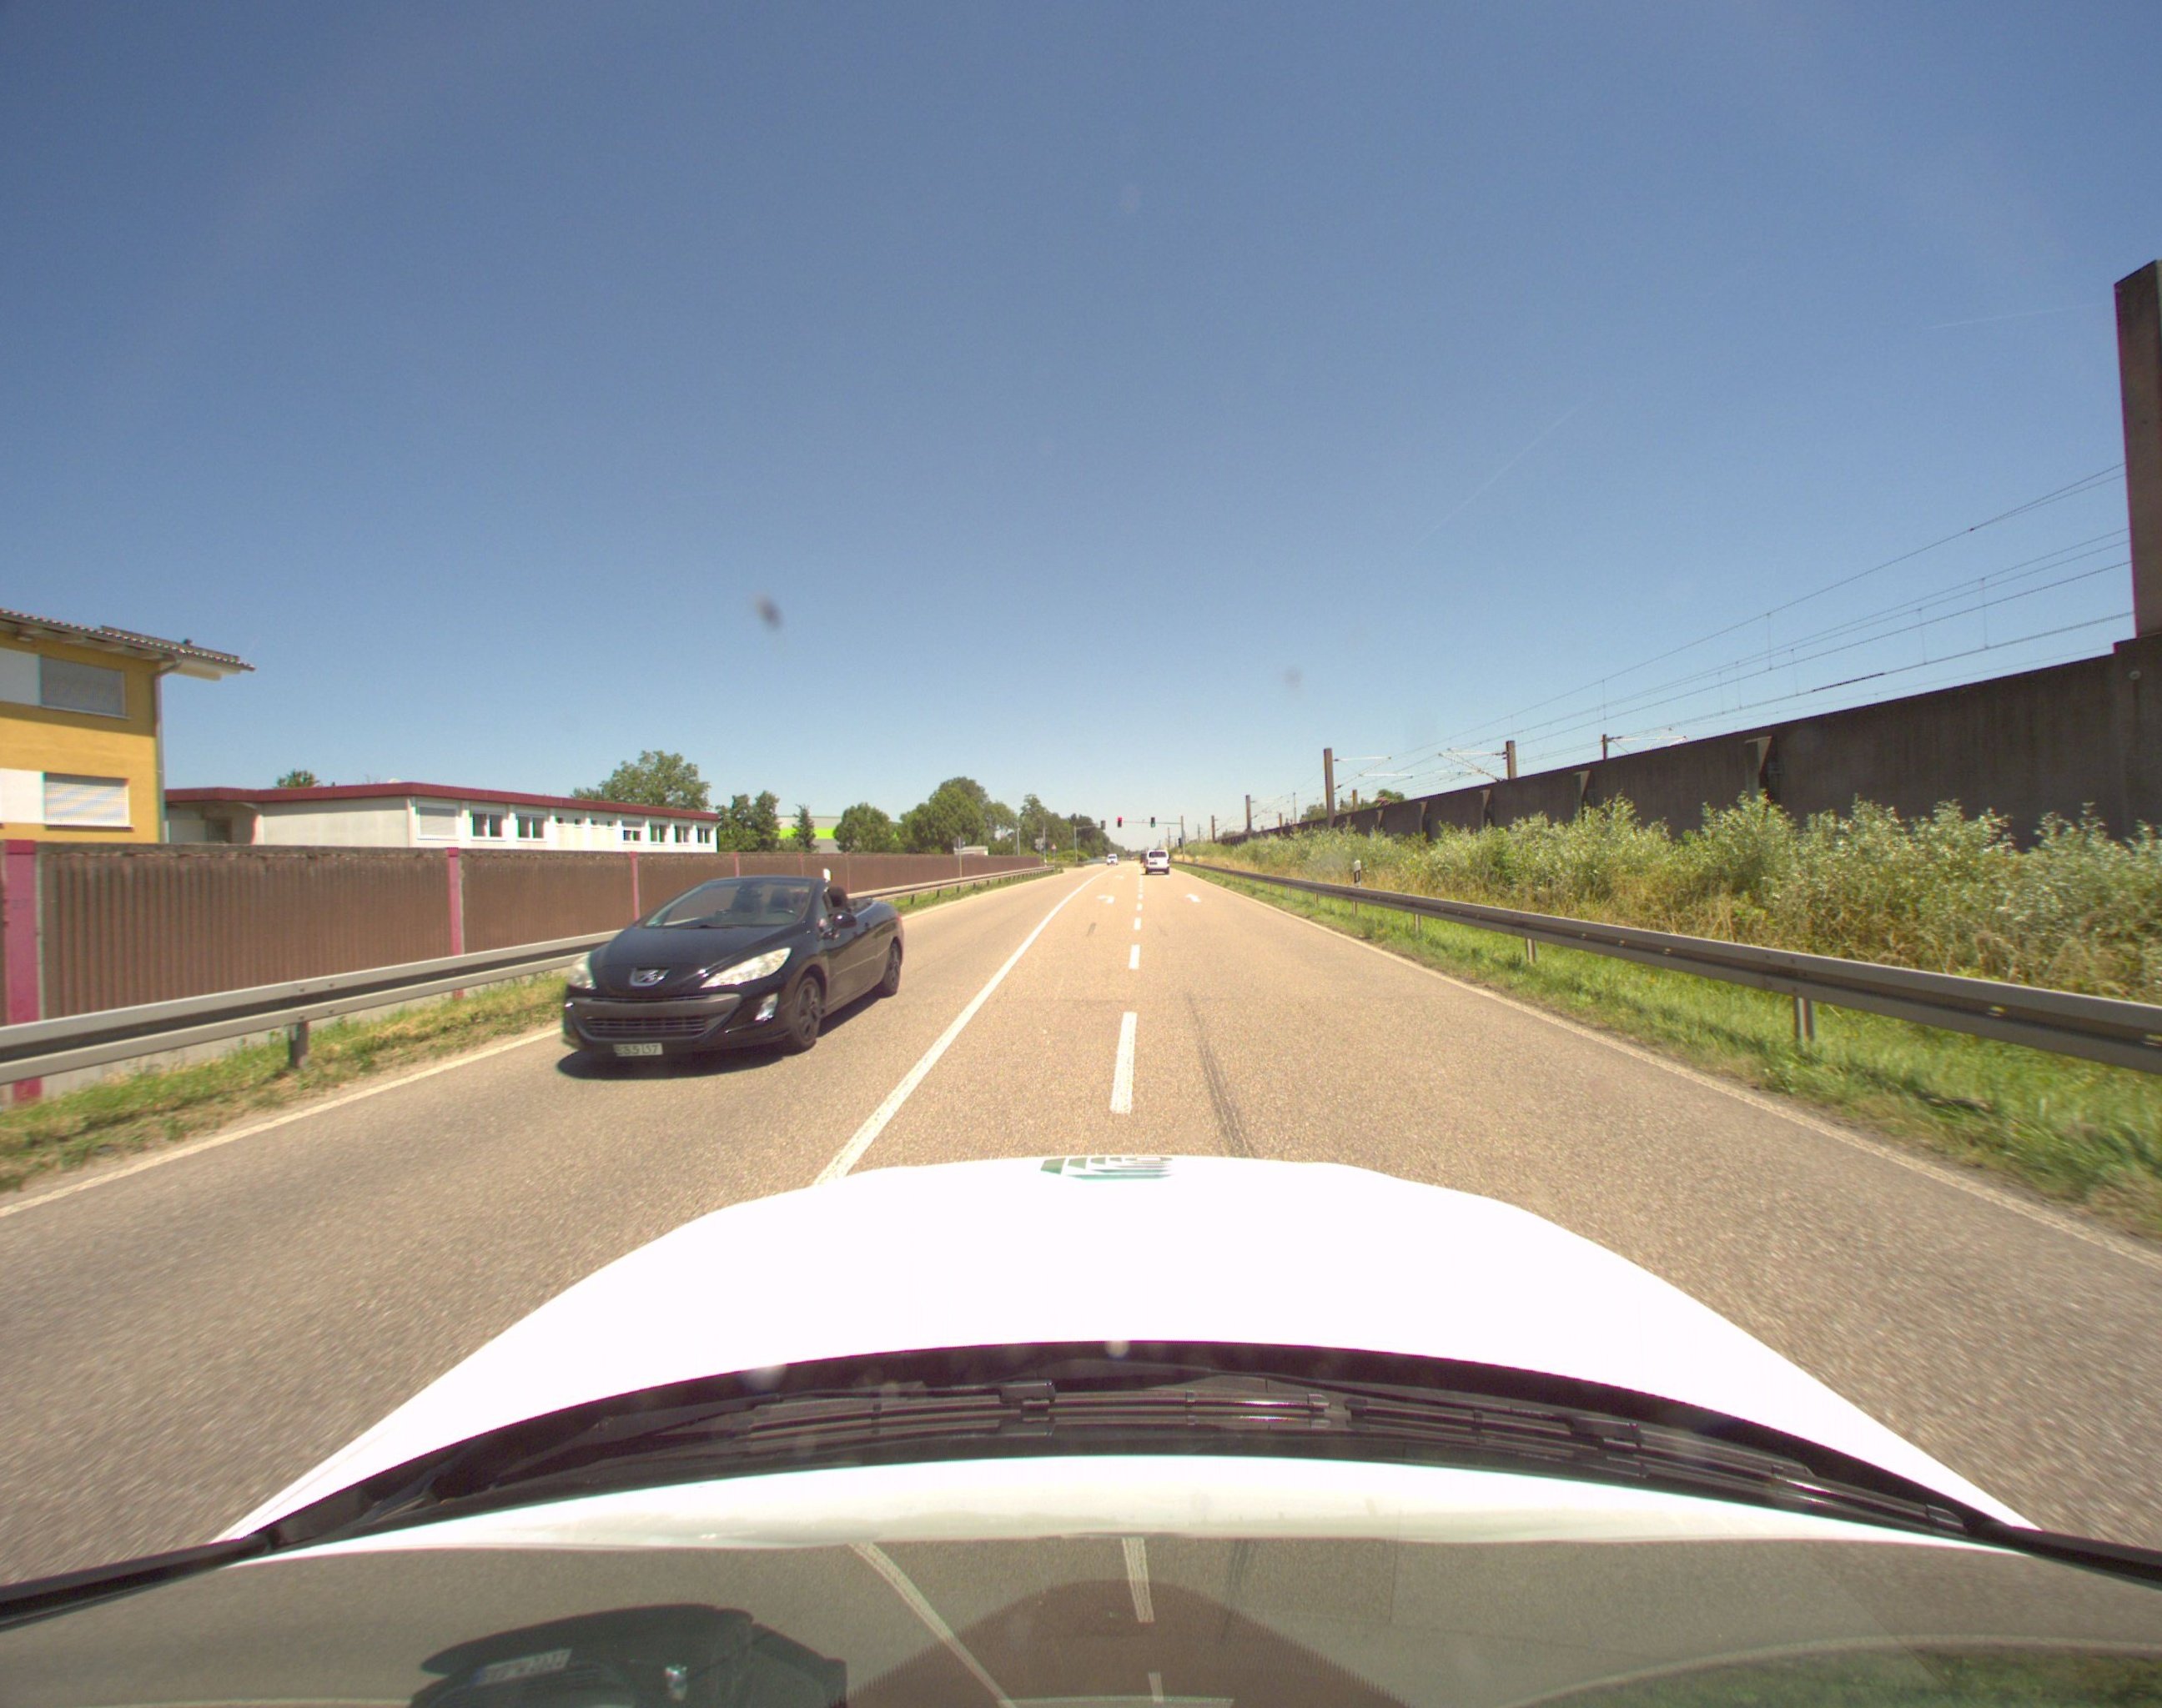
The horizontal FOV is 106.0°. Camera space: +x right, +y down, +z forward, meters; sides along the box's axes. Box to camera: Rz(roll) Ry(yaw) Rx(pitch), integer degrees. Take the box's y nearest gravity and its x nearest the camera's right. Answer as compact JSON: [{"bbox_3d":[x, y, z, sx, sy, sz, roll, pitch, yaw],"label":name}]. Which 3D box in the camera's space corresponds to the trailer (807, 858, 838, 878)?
[{"bbox_3d":[-36.693,1.966,115.595,3.779,2.764,1.804,-1,-1,-42],"label":"trailer"}]

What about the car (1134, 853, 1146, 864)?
[{"bbox_3d":[11.296,0.806,155.709,2.146,1.968,4.545,-1,0,2],"label":"car"}]

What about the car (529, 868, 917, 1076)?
[{"bbox_3d":[-2.968,0.871,7.888,1.838,1.390,4.190,-1,0,1],"label":"car"}]

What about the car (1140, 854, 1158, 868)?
[{"bbox_3d":[8.539,0.859,102.887,2.012,1.726,4.545,-1,0,2],"label":"car"}]

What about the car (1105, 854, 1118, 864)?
[{"bbox_3d":[5.279,0.899,141.219,1.882,1.740,4.773,-1,0,-2],"label":"car"}]

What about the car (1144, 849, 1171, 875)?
[{"bbox_3d":[6.050,0.593,64.907,1.985,1.983,4.063,-1,0,3],"label":"car"}]
